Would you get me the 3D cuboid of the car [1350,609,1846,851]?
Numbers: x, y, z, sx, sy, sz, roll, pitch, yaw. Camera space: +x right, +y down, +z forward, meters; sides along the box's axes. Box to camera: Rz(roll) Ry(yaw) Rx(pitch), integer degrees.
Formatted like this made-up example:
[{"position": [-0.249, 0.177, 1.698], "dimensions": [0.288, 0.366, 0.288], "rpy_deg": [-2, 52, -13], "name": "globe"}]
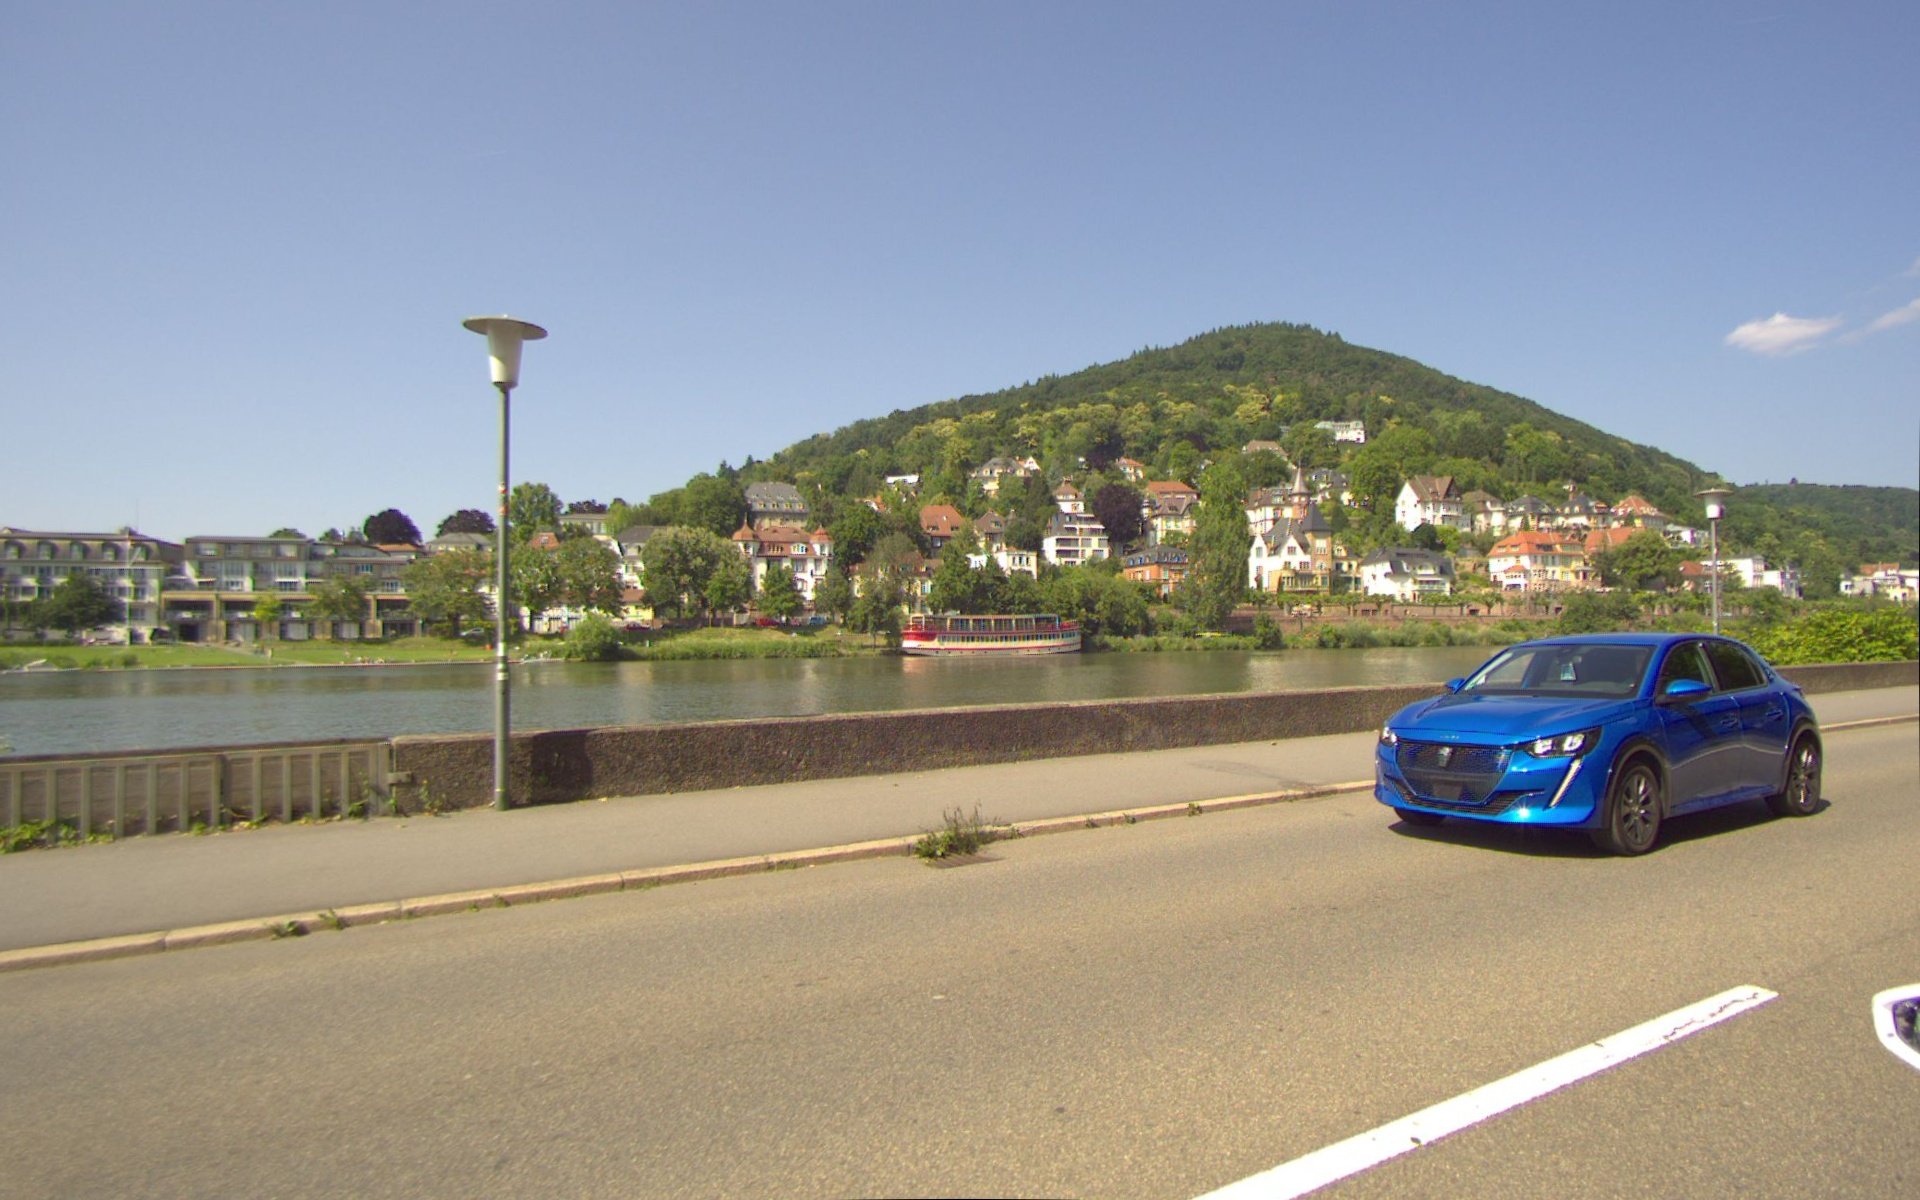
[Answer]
[{"position": [5.021, 0.849, 7.813], "dimensions": [3.856, 1.460, 1.665], "rpy_deg": [0, -4, -31], "name": "car"}]
